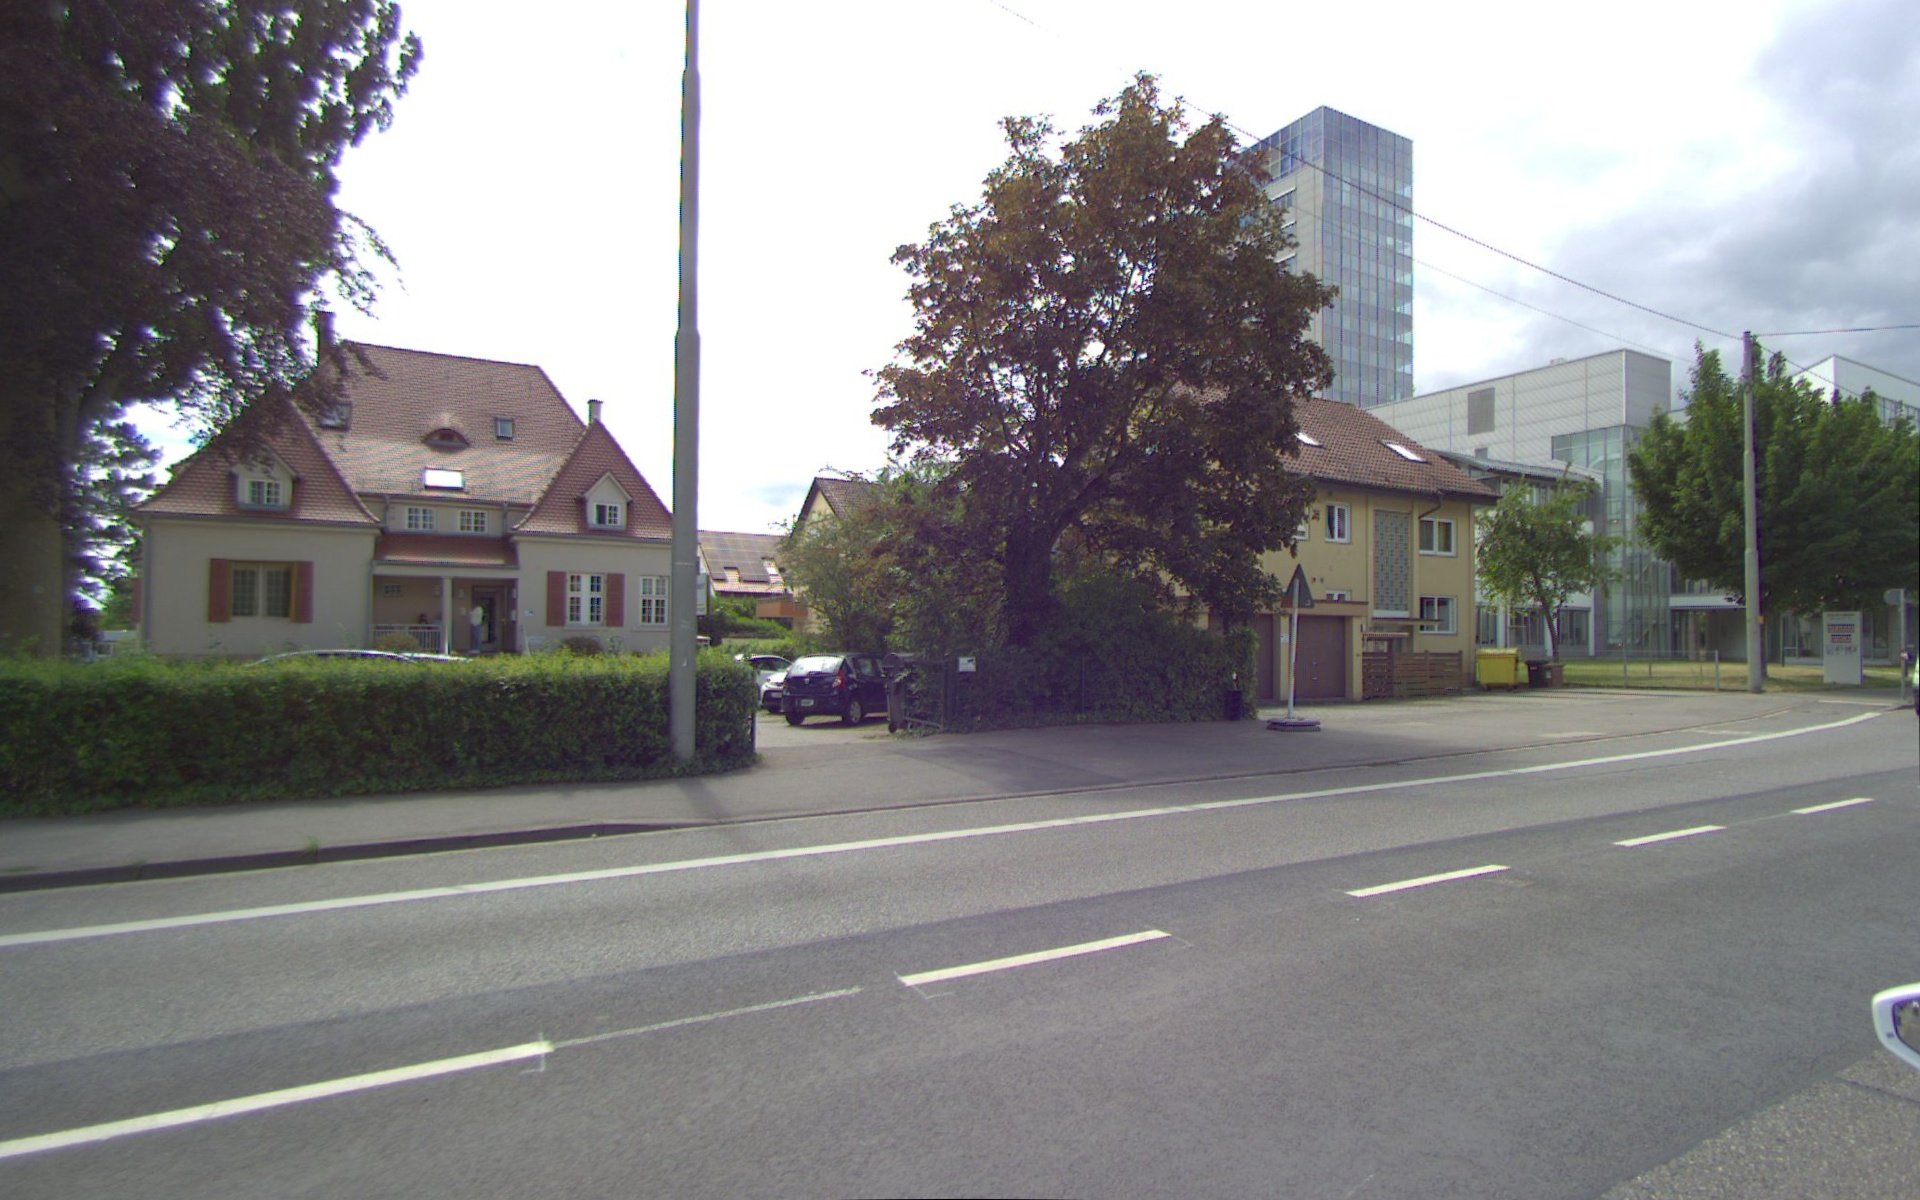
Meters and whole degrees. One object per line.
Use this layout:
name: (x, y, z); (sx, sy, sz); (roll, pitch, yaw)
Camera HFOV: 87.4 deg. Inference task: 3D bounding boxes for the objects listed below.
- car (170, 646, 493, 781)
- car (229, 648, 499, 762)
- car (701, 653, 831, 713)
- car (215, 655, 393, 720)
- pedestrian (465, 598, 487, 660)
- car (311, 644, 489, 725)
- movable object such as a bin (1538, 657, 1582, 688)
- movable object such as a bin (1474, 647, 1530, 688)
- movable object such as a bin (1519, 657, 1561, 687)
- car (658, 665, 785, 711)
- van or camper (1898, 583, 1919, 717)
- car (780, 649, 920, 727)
car: (-8.138, 1.390, 13.269); (3.397, 1.535, 1.652); (1, -2, -32)
car: (-9.081, 1.530, 15.499); (3.397, 1.535, 1.652); (1, -2, -32)
car: (-5.496, 2.317, 28.765); (1.639, 1.535, 3.495); (-2, -3, 36)
car: (-17.360, 2.274, 26.840); (3.827, 1.572, 1.856); (1, -3, -30)
pedestrian: (-15.490, 0.932, 32.132); (0.576, 1.933, 0.587); (1, -3, -30)
car: (-12.599, 1.842, 22.690); (3.397, 1.685, 1.652); (1, -2, -32)
movable object such as a bin: (19.241, 2.322, 32.212); (0.985, 0.954, 0.745); (1, -3, -23)
movable object such as a bin: (18.481, 2.296, 34.249); (1.389, 1.347, 1.417); (-3, -4, 39)
movable object such as a bin: (19.042, 2.368, 32.975); (0.985, 0.954, 0.745); (1, -3, -23)
car: (-7.057, 2.578, 30.022); (1.639, 1.176, 3.495); (-2, -3, 36)
van or camper: (22.721, 1.057, 21.895); (5.990, 2.769, 1.982); (2, -3, -34)
car: (-2.349, 1.879, 22.288); (1.634, 1.535, 3.435); (-1, -2, 23)
